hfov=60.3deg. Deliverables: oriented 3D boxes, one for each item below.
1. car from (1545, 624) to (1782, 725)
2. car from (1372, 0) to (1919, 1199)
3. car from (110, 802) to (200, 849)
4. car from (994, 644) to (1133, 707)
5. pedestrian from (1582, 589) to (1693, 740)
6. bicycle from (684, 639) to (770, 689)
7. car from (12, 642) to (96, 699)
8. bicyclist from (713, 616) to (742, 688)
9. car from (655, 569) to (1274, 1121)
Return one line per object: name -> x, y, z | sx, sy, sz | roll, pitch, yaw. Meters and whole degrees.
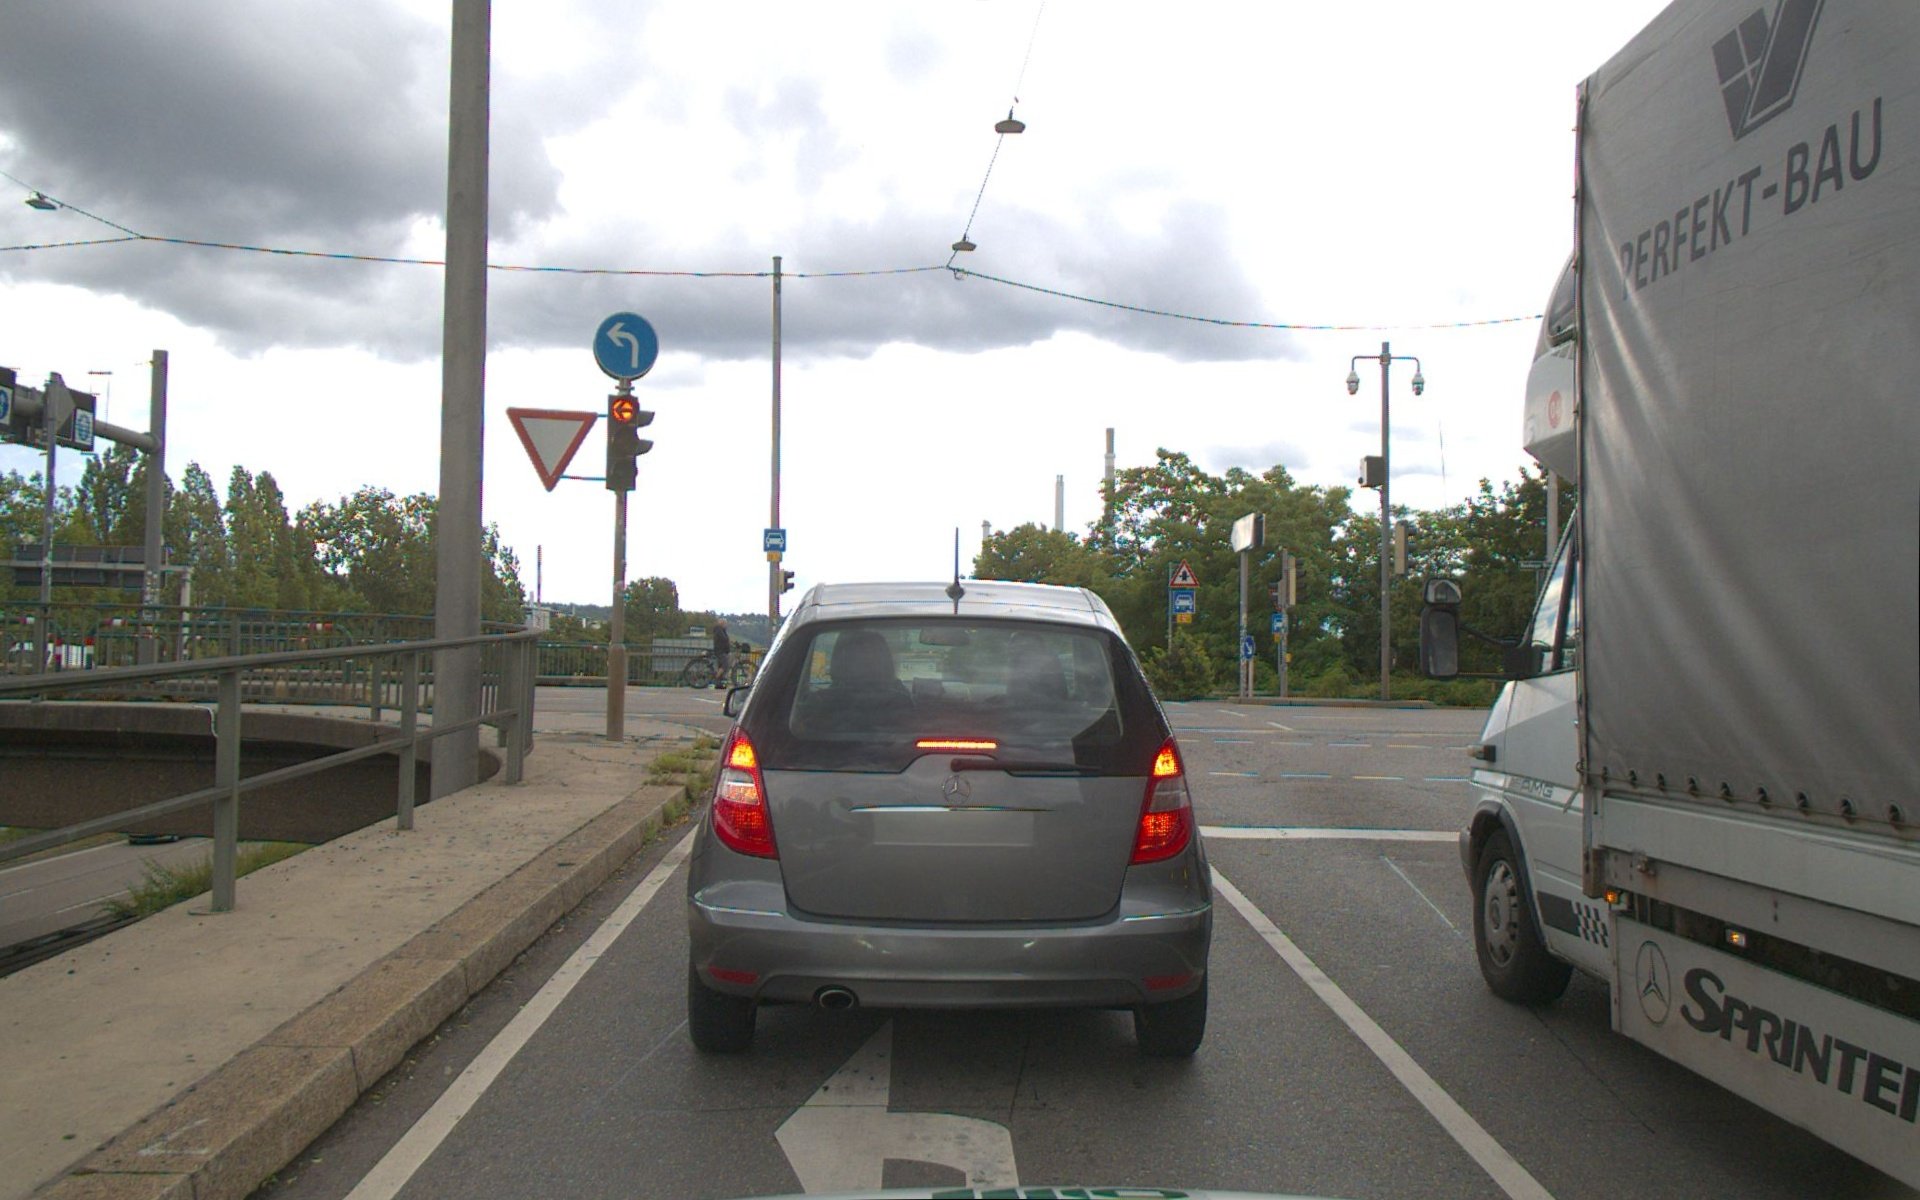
car -> 13.175, 1.343, 30.999 | 3.912, 1.694, 1.810 | 1, 0, 30
car -> 3.189, -0.105, 3.890 | 2.604, 3.388, 7.089 | 1, 0, -1
car -> -31.790, 8.896, 65.413 | 1.648, 1.482, 3.920 | 0, -2, -1
car -> 3.396, 2.460, 55.305 | 1.980, 1.802, 5.179 | 0, 1, -33
pedestrian -> 7.894, 0.753, 19.316 | 0.816, 1.707, 0.978 | 0, -3, -4
bicycle -> -5.631, 1.543, 39.935 | 1.996, 1.144, 0.927 | 0, 0, -12
car -> -38.966, 3.016, 71.239 | 1.819, 2.254, 3.659 | 0, 0, -5
bicyclist -> -5.619, 1.252, 39.949 | 0.641, 1.703, 0.867 | 0, 0, -11
car -> 0.057, 0.694, 6.886 | 1.819, 1.616, 4.001 | 0, 1, 1
